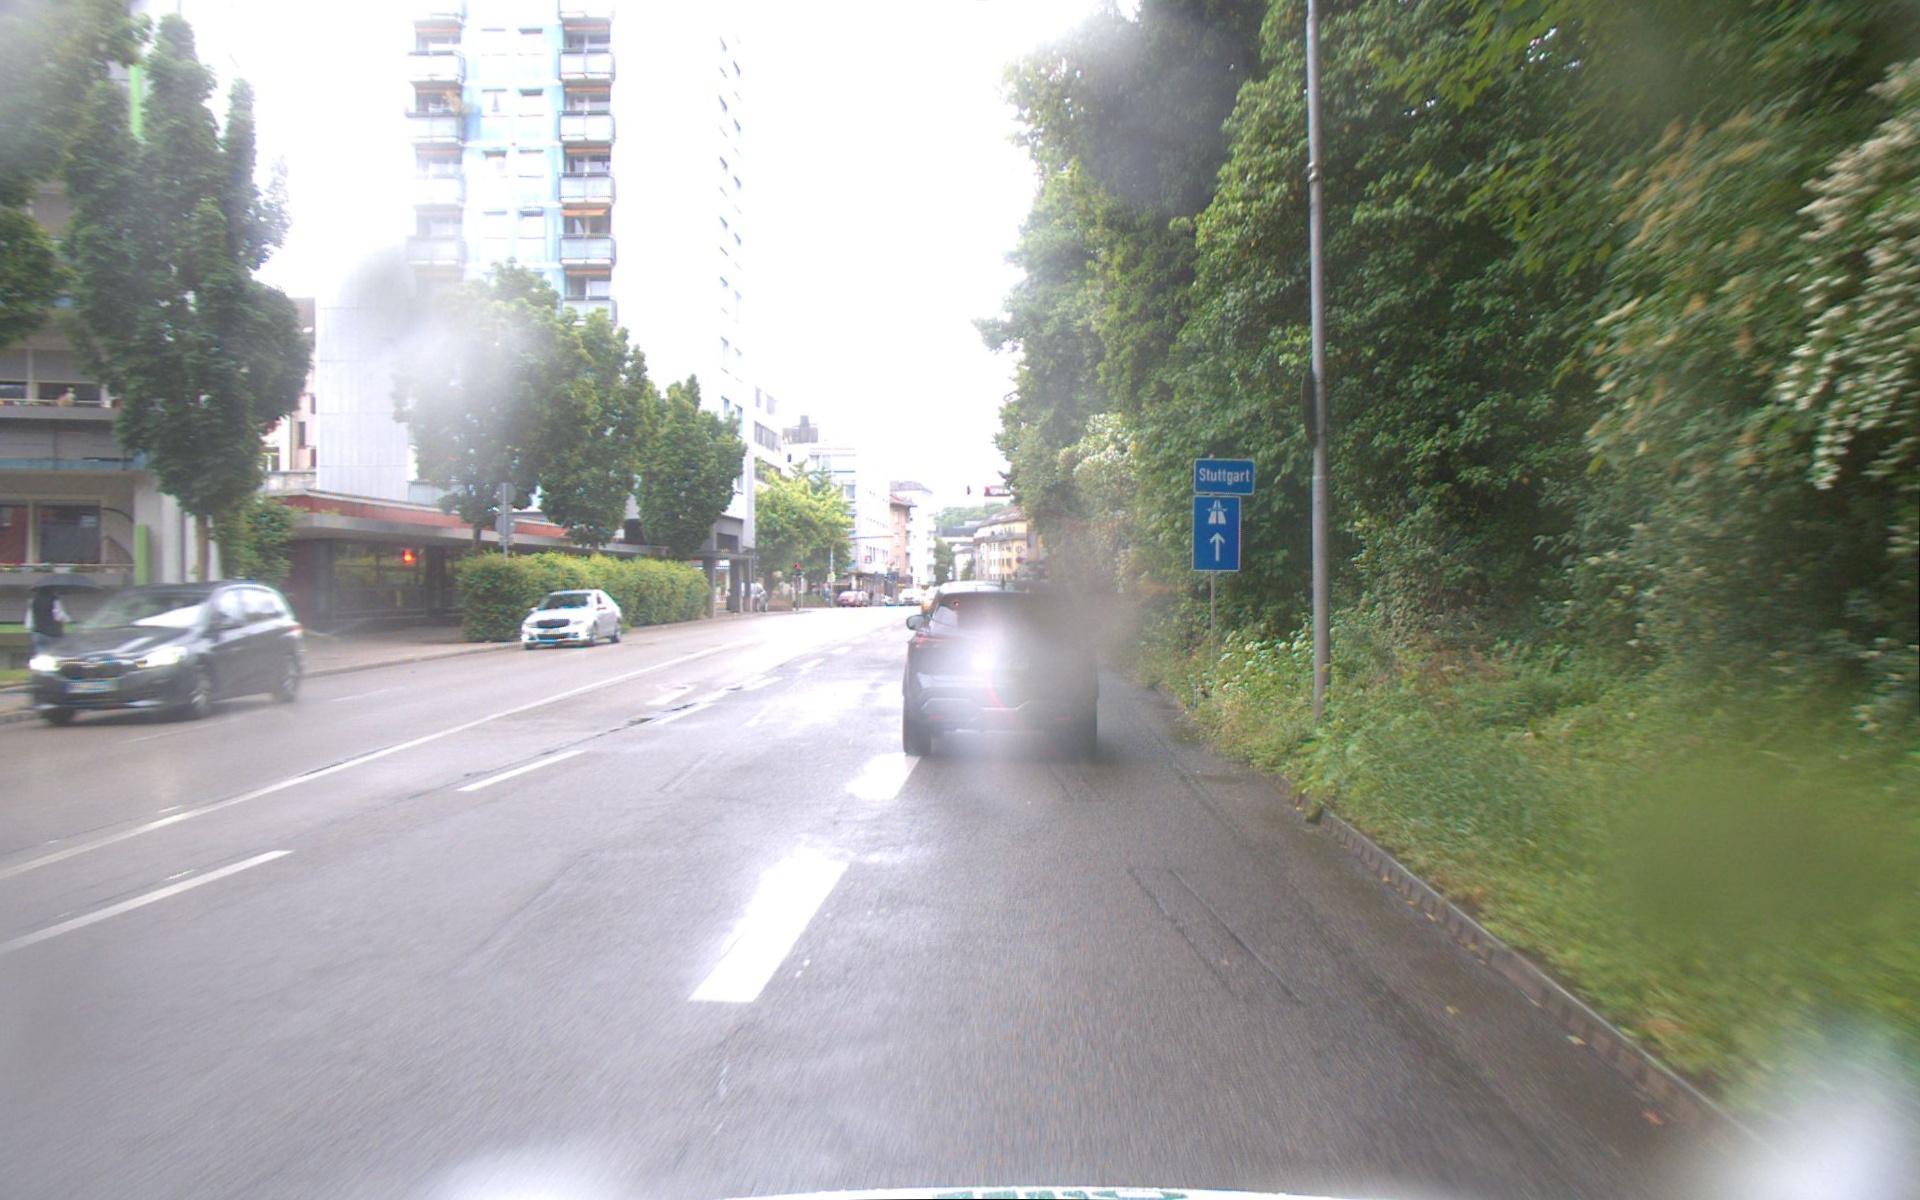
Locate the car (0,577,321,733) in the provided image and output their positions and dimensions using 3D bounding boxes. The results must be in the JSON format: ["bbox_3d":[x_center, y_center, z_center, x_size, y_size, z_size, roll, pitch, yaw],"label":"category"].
[{"bbox_3d":[-9.589,0.570,20.274,1.836,1.630,4.463,-2,1,-2],"label":"car"}]

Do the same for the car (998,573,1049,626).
[{"bbox_3d":[2.544,-0.043,65.694,1.952,2.049,4.002,0,1,3],"label":"car"}]

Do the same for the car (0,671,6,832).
[{"bbox_3d":[-6.357,0.704,7.424,1.805,1.409,4.357,-2,1,-4],"label":"car"}]

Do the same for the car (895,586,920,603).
[{"bbox_3d":[-4.636,-0.516,145.869,1.955,1.478,3.996,-1,1,-5],"label":"car"}]

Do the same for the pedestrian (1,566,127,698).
[{"bbox_3d":[-12.874,0.435,23.811,1.111,1.835,1.262,-1,1,-2],"label":"pedestrian"}]

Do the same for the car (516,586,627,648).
[{"bbox_3d":[-9.849,0.388,42.316,1.836,1.415,4.625,-2,1,-2],"label":"car"}]

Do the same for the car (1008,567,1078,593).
[{"bbox_3d":[6.034,-1.453,120.089,4.735,1.780,1.983,-1,1,-27],"label":"car"}]

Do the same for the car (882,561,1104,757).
[{"bbox_3d":[0.331,0.471,16.386,1.919,1.681,4.001,0,1,1],"label":"car"}]

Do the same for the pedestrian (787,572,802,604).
[{"bbox_3d":[-10.670,-0.769,106.383,0.922,2.049,0.885,-1,0,-7],"label":"pedestrian"}]

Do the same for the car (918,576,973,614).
[{"bbox_3d":[-0.563,-0.230,67.833,2.023,1.489,4.588,0,1,2],"label":"car"}]

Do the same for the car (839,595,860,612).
[{"bbox_3d":[-9.970,0.290,149.379,1.638,1.504,3.608,-2,0,0],"label":"car"}]

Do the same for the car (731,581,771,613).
[{"bbox_3d":[-11.525,-0.174,91.383,1.507,1.735,4.288,1,0,2],"label":"car"}]

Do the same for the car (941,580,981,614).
[{"bbox_3d":[0.066,-0.153,75.571,1.708,1.513,4.162,-1,0,1],"label":"car"}]
